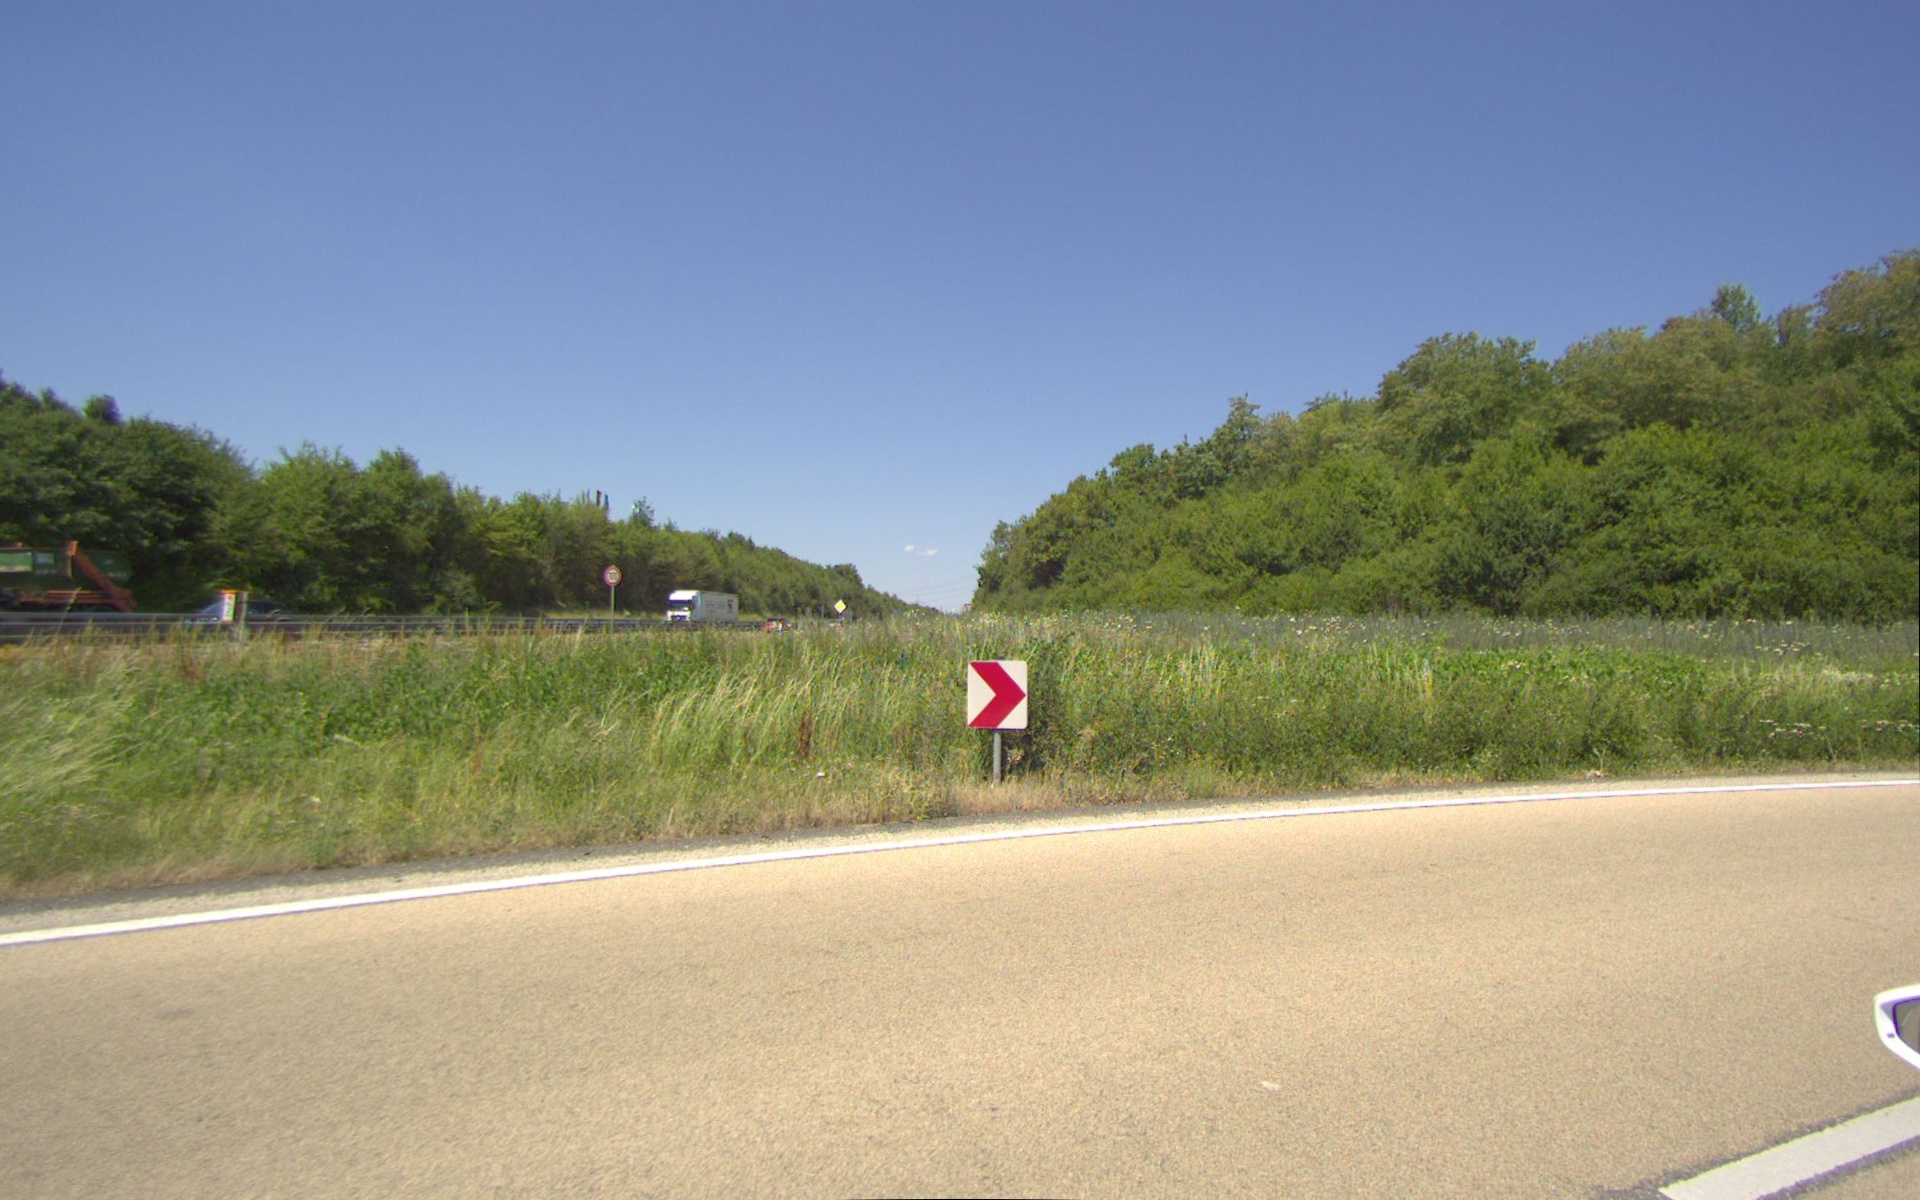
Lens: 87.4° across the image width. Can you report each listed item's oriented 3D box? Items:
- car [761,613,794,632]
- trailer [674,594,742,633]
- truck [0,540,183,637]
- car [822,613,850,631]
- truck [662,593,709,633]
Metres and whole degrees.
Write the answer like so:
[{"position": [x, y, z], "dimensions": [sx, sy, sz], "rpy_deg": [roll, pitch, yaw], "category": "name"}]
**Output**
[{"position": [-15.212, 1.867, 83.784], "dimensions": [1.714, 1.575, 3.382], "rpy_deg": [0, 0, 7], "category": "car"}, {"position": [-27.343, 1.488, 109.797], "dimensions": [2.862, 3.992, 13.283], "rpy_deg": [0, -1, 5], "category": "trailer"}, {"position": [-31.766, -0.330, 34.715], "dimensions": [2.550, 3.102, 8.211], "rpy_deg": [1, -1, 8], "category": "truck"}, {"position": [-11.372, 2.037, 92.071], "dimensions": [1.714, 1.598, 3.382], "rpy_deg": [0, 0, 7], "category": "car"}, {"position": [-28.016, 1.362, 102.637], "dimensions": [2.862, 3.992, 5.421], "rpy_deg": [0, -1, 5], "category": "truck"}]
